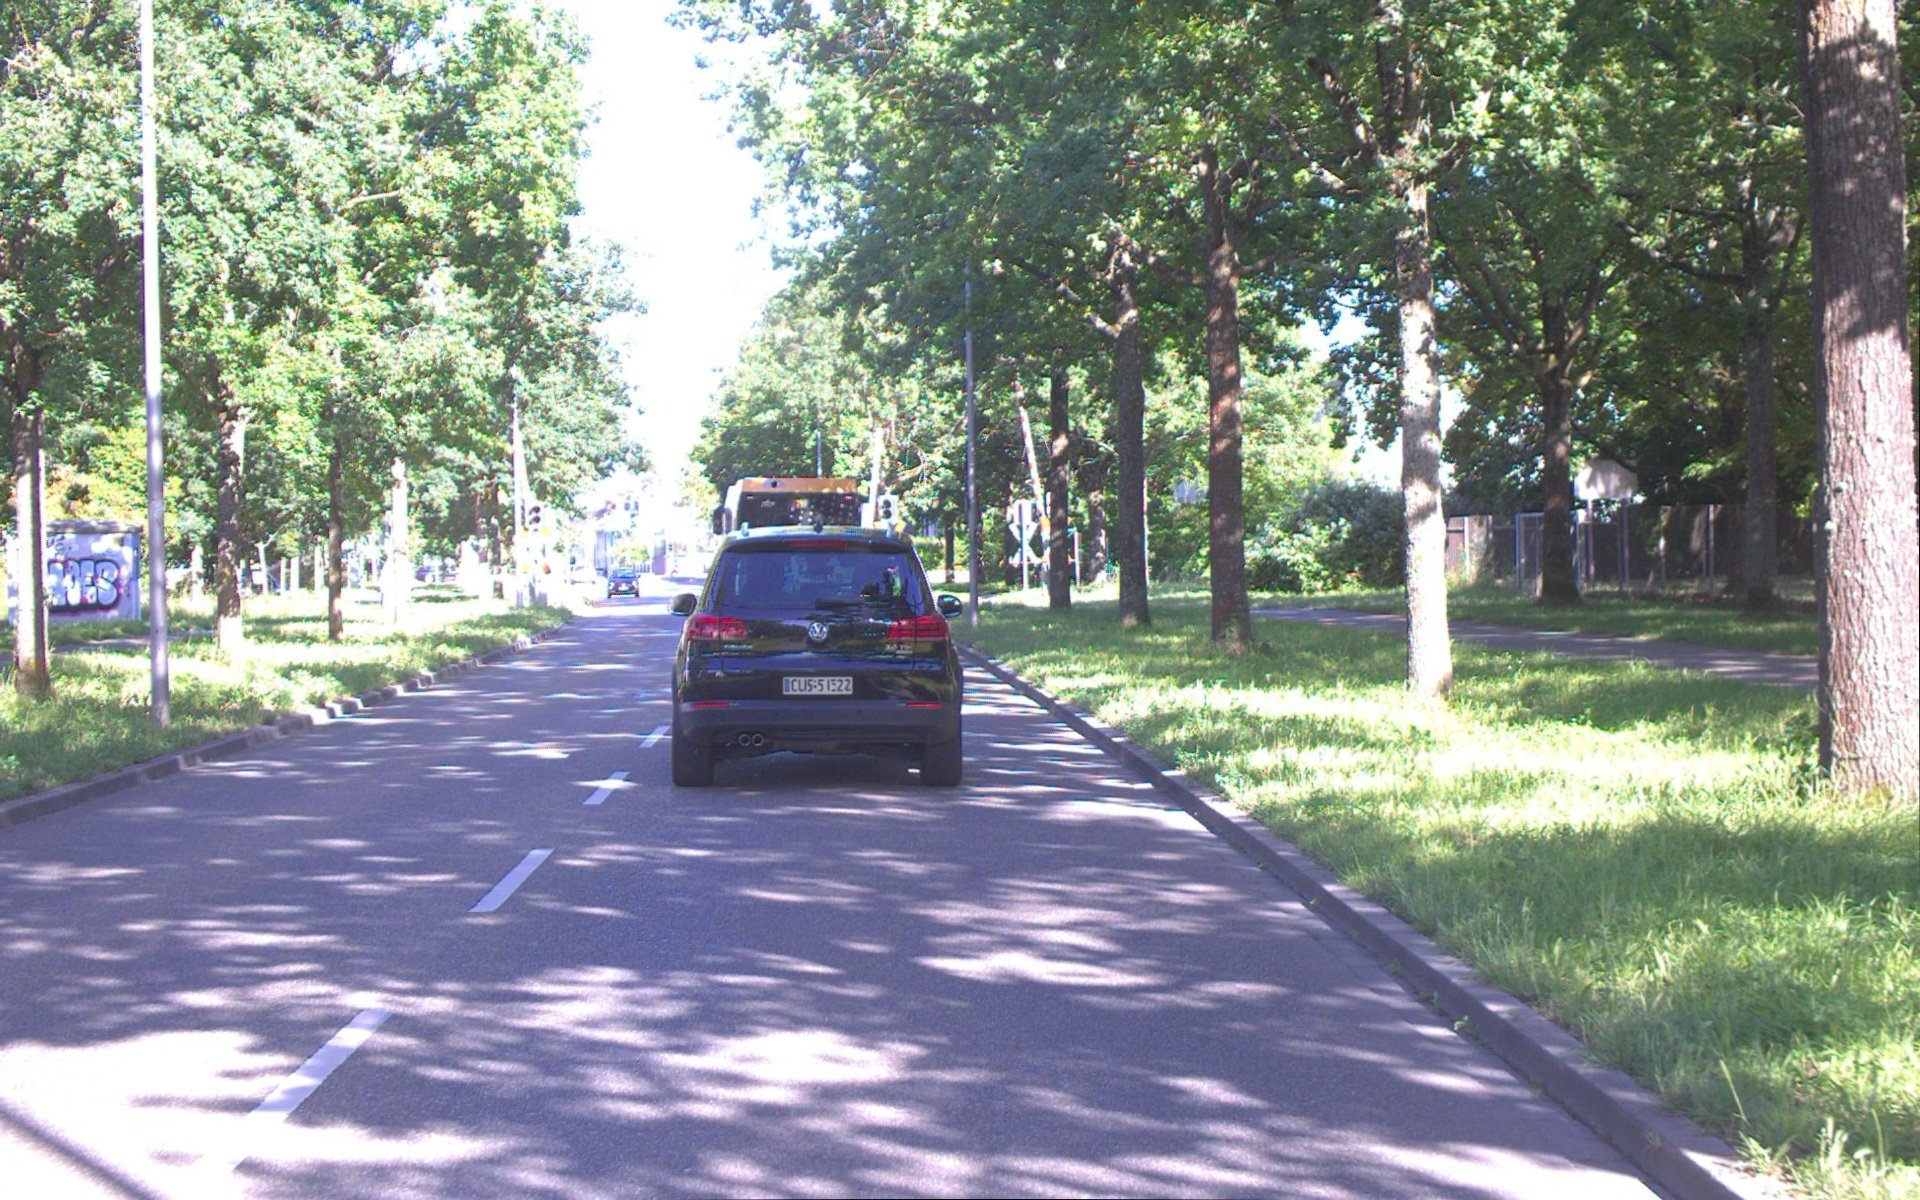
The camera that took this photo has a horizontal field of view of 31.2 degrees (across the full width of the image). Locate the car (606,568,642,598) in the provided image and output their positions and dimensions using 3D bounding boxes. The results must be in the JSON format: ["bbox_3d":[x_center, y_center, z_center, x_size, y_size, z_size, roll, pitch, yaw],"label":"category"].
[{"bbox_3d":[-17.152,-0.895,175.603,1.565,1.499,4.000,1,1,-1],"label":"car"}]

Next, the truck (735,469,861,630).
[{"bbox_3d":[-3.545,-1.083,73.959,2.512,3.232,8.153,-1,1,-4],"label":"truck"}]

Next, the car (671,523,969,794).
[{"bbox_3d":[-0.965,0.335,22.857,1.782,1.628,4.001,1,1,-3],"label":"car"}]
